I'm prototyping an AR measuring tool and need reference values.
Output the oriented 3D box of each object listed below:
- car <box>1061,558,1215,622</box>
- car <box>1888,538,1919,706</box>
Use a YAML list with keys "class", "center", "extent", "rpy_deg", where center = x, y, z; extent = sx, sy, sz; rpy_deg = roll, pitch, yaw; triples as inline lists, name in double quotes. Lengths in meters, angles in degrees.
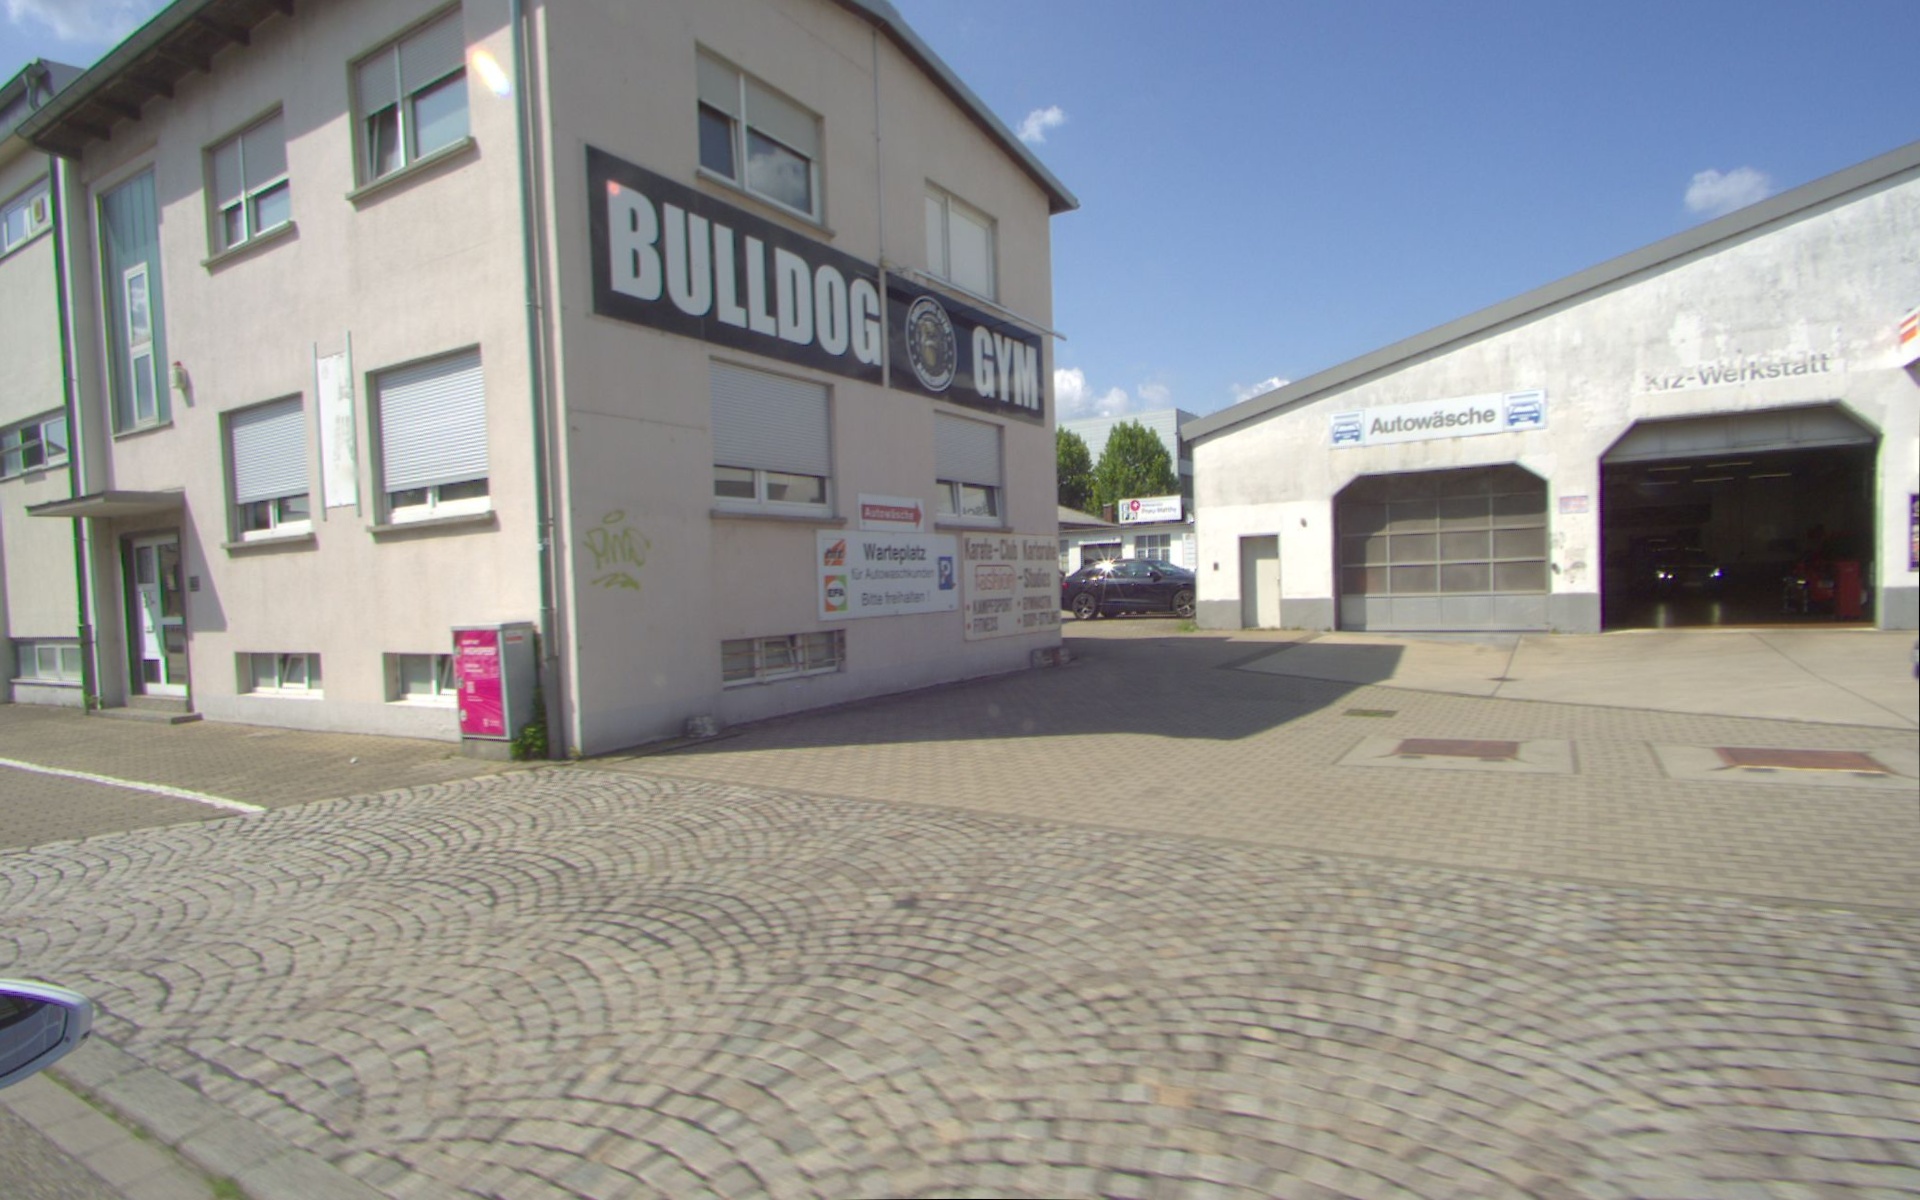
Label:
- class: "car"
  center: [4.886, -0.266, 27.642]
  extent: [3.886, 1.564, 1.508]
  rpy_deg: [-2, 2, 32]
- class: "car"
  center: [10.411, 0.135, 7.801]
  extent: [4.358, 1.491, 1.688]
  rpy_deg: [-2, 2, 30]
